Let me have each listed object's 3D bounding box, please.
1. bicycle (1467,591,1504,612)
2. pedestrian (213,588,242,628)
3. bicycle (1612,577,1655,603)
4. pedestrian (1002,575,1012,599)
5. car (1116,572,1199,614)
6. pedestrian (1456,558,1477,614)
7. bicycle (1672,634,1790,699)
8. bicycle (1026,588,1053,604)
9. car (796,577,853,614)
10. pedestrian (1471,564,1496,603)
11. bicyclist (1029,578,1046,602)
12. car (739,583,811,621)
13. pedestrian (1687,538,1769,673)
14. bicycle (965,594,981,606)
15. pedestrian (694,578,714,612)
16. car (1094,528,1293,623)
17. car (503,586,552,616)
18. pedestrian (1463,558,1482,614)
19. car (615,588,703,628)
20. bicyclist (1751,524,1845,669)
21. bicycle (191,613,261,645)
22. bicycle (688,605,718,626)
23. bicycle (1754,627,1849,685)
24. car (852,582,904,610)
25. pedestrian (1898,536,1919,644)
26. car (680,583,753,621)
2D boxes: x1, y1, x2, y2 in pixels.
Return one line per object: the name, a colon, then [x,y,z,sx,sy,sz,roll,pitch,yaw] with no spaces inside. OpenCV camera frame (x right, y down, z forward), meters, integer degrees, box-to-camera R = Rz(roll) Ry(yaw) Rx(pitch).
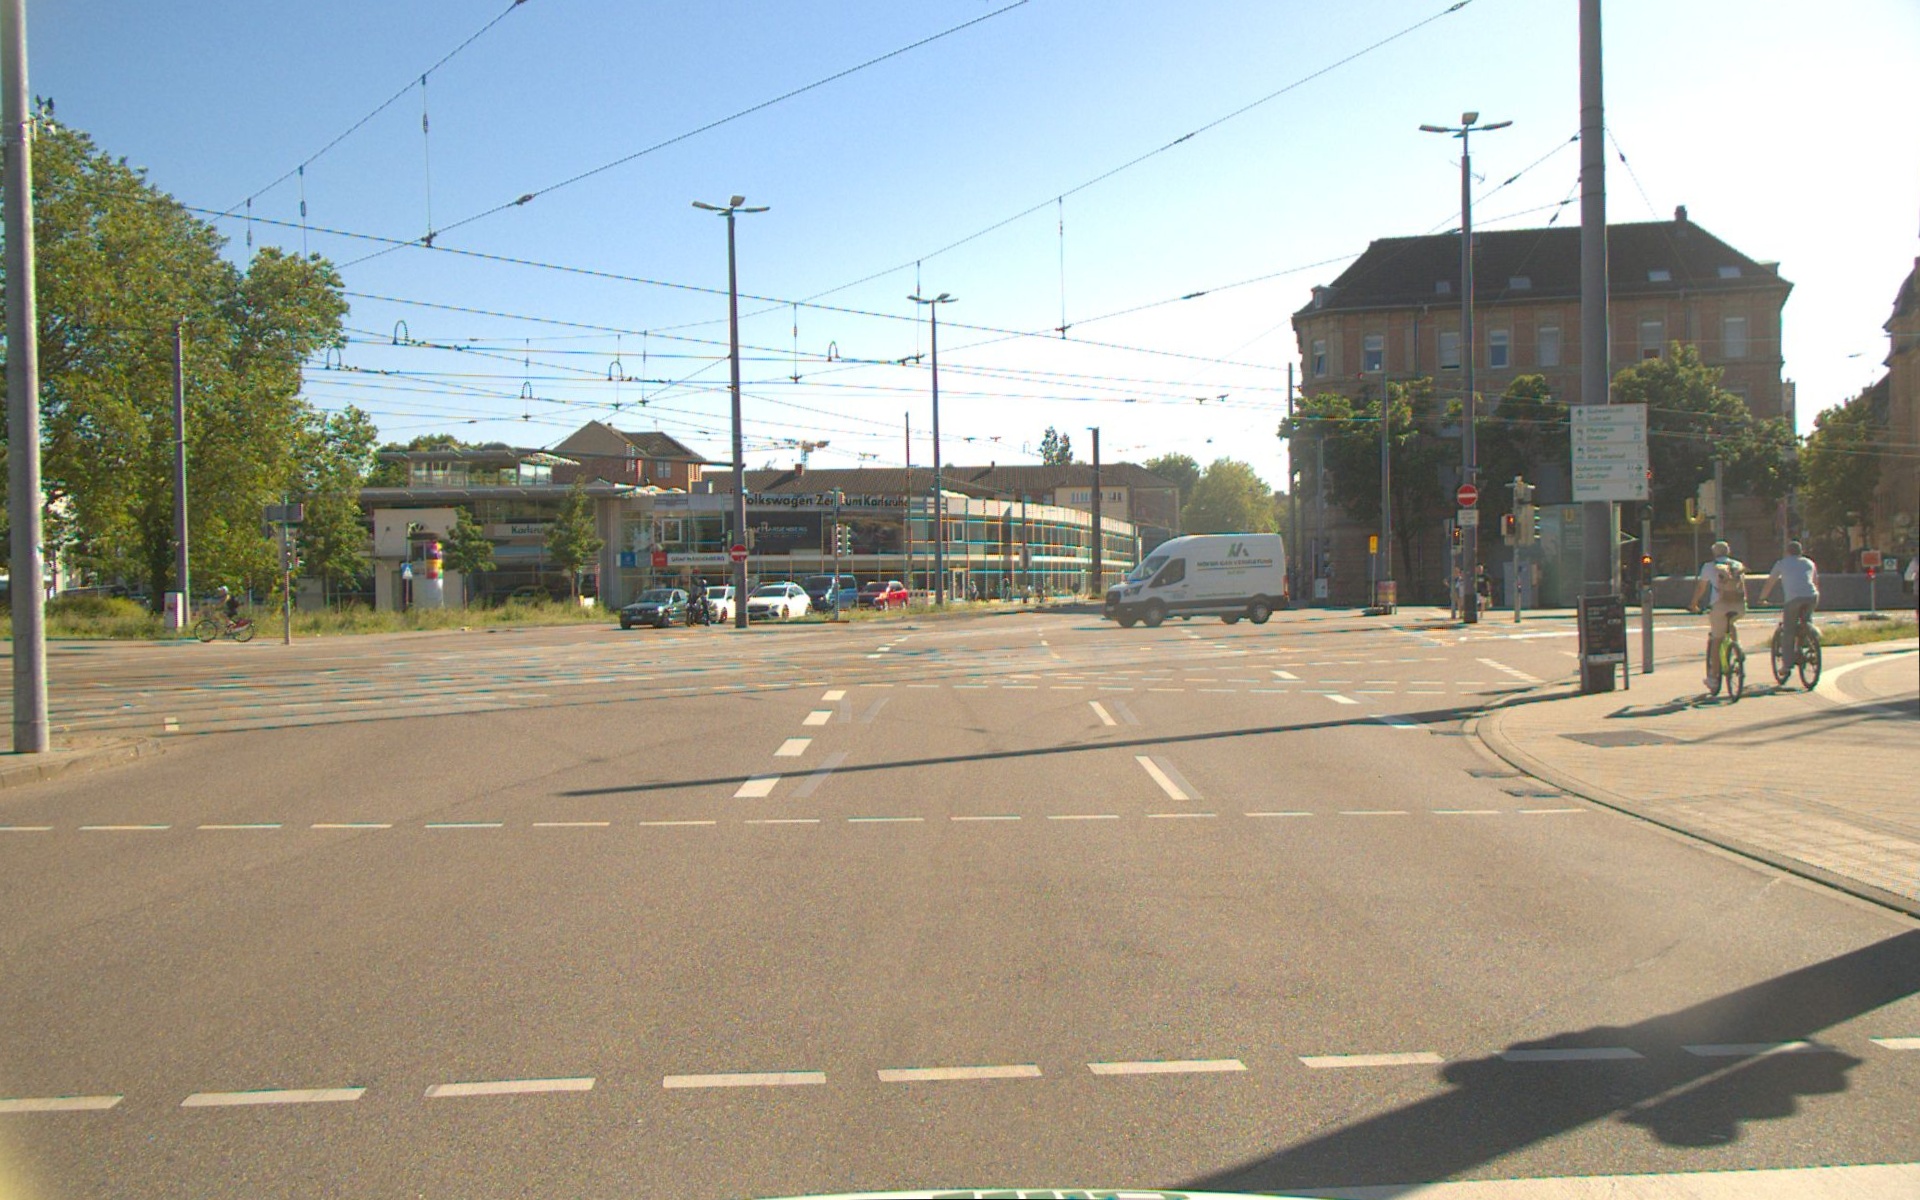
bicycle: [22.694,0.049,71.415,0.733,0.885,1.918,-1,0,44]
pedestrian: [-22.877,0.240,51.649,0.784,1.225,0.556,-1,0,-25]
bicycle: [30.141,-0.459,74.012,1.984,1.139,0.546,-1,0,-21]
pedestrian: [3.368,-0.914,118.071,0.531,1.718,0.630,-1,0,24]
car: [7.568,-0.272,63.706,1.672,1.529,4.246,-1,1,-16]
pedestrian: [18.490,-0.512,60.340,0.564,2.049,0.449,-1,1,-19]
bicycle: [9.291,0.785,19.992,0.526,0.667,1.724,-4,1,-3]
bicycle: [5.451,-0.250,112.644,0.796,1.063,2.119,-1,1,36]
car: [-6.420,-0.235,78.866,1.591,1.722,3.689,-1,1,14]
pedestrian: [22.570,-0.723,71.295,0.713,1.660,0.746,-1,0,-45]
bicyclist: [5.284,-0.687,112.441,0.796,1.652,0.925,-1,0,37]
car: [-7.231,0.076,64.837,1.591,1.406,3.741,-1,1,14]
pedestrian: [9.245,0.059,19.933,0.537,1.590,0.857,-1,0,-3]
bicycle: [0.808,0.016,104.670,0.414,0.730,1.474,-1,1,25]
pedestrian: [-9.338,-0.198,60.371,0.413,1.225,0.750,-1,0,16]
car: [7.231,-0.768,51.226,5.822,2.792,2.130,-1,0,-22]
car: [-25.971,0.050,99.481,1.926,1.735,4.083,-1,1,-1]
pedestrian: [18.889,-0.509,60.972,0.453,2.049,0.449,-1,1,-18]
car: [-11.006,0.257,60.706,1.667,1.378,3.703,-1,1,16]
bicyclist: [10.822,-0.054,21.377,0.731,1.809,0.924,-2,0,3]
bicycle: [-22.911,0.889,51.632,1.979,0.929,0.558,-1,0,-25]
bicycle: [-9.361,0.559,60.247,0.413,0.730,1.636,-1,1,16]
bicycle: [10.800,0.705,21.267,0.526,0.667,1.468,-2,1,3]
car: [-4.242,-0.199,86.026,1.591,1.388,3.688,-1,1,16]
pedestrian: [17.289,-0.184,29.497,0.880,1.892,0.924,-1,0,34]
car: [-9.783,0.048,66.680,1.591,1.448,3.689,-1,1,14]
